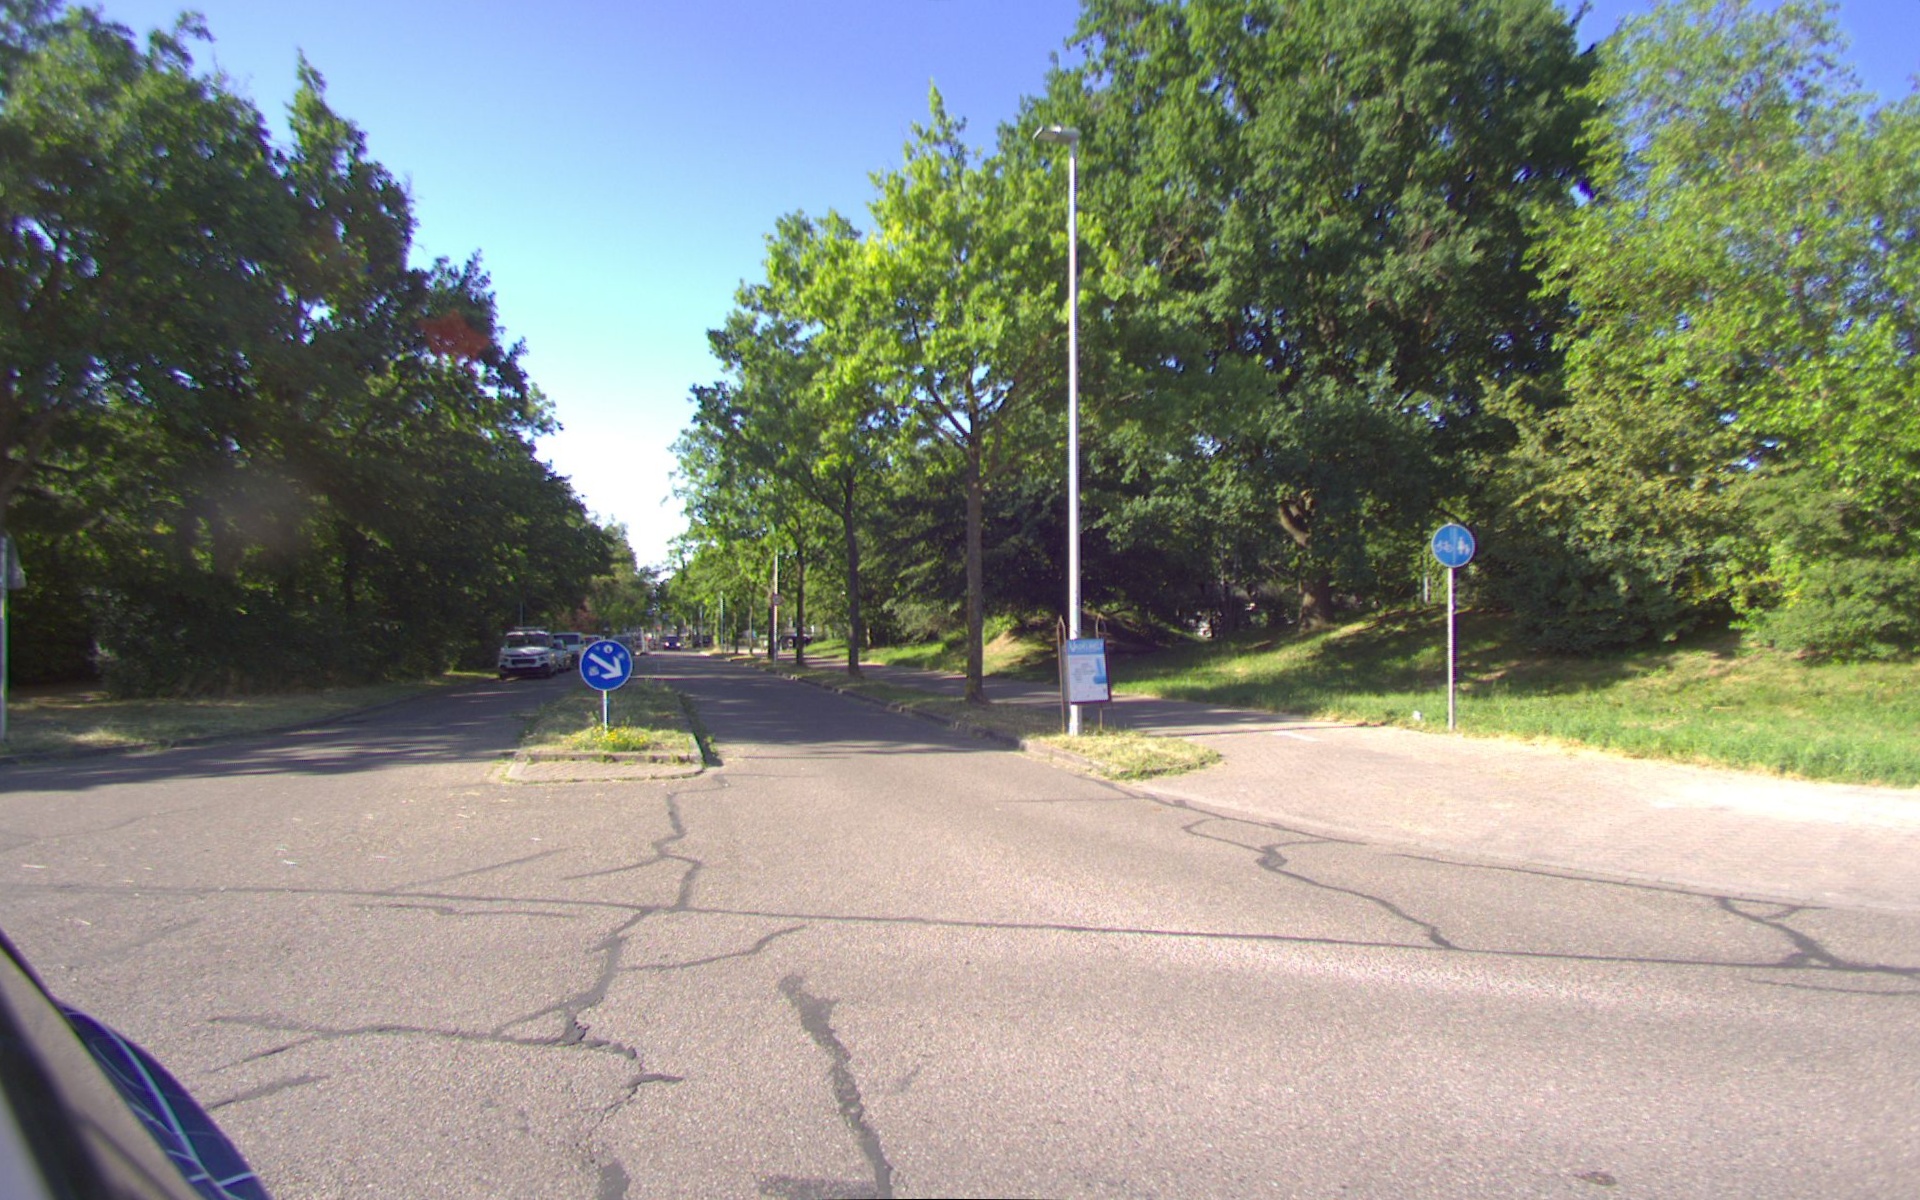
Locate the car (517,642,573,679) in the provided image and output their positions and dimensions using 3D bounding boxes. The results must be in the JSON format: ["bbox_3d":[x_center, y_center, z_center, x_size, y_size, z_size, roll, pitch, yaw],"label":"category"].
[{"bbox_3d":[-17.884,2.568,43.817,1.694,1.455,4.627,-1,-2,-16],"label":"car"}]

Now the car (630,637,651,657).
[{"bbox_3d":[-27.788,4.081,88.034,1.426,1.666,3.729,0,-2,-13],"label":"car"}]

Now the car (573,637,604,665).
[{"bbox_3d":[-22.928,3.152,62.575,1.476,1.651,3.763,0,-2,-16],"label":"car"}]

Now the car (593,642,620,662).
[{"bbox_3d":[-25.277,3.685,72.341,1.476,1.369,3.475,0,-2,-13],"label":"car"}]

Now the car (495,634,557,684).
[{"bbox_3d":[-16.264,2.164,38.078,1.725,1.762,4.648,0,-2,-18],"label":"car"}]

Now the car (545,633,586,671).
[{"bbox_3d":[-19.160,2.504,49.222,1.476,1.768,3.812,0,-2,-16],"label":"car"}]

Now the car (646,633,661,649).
[{"bbox_3d":[-33.780,4.492,111.619,1.399,1.666,3.920,0,-2,-13],"label":"car"}]

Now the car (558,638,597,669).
[{"bbox_3d":[-21.322,2.972,56.505,1.743,1.651,3.763,0,-2,-16],"label":"car"}]

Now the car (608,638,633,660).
[{"bbox_3d":[-26.276,3.782,78.516,1.476,1.666,4.102,0,-2,-13],"label":"car"}]
